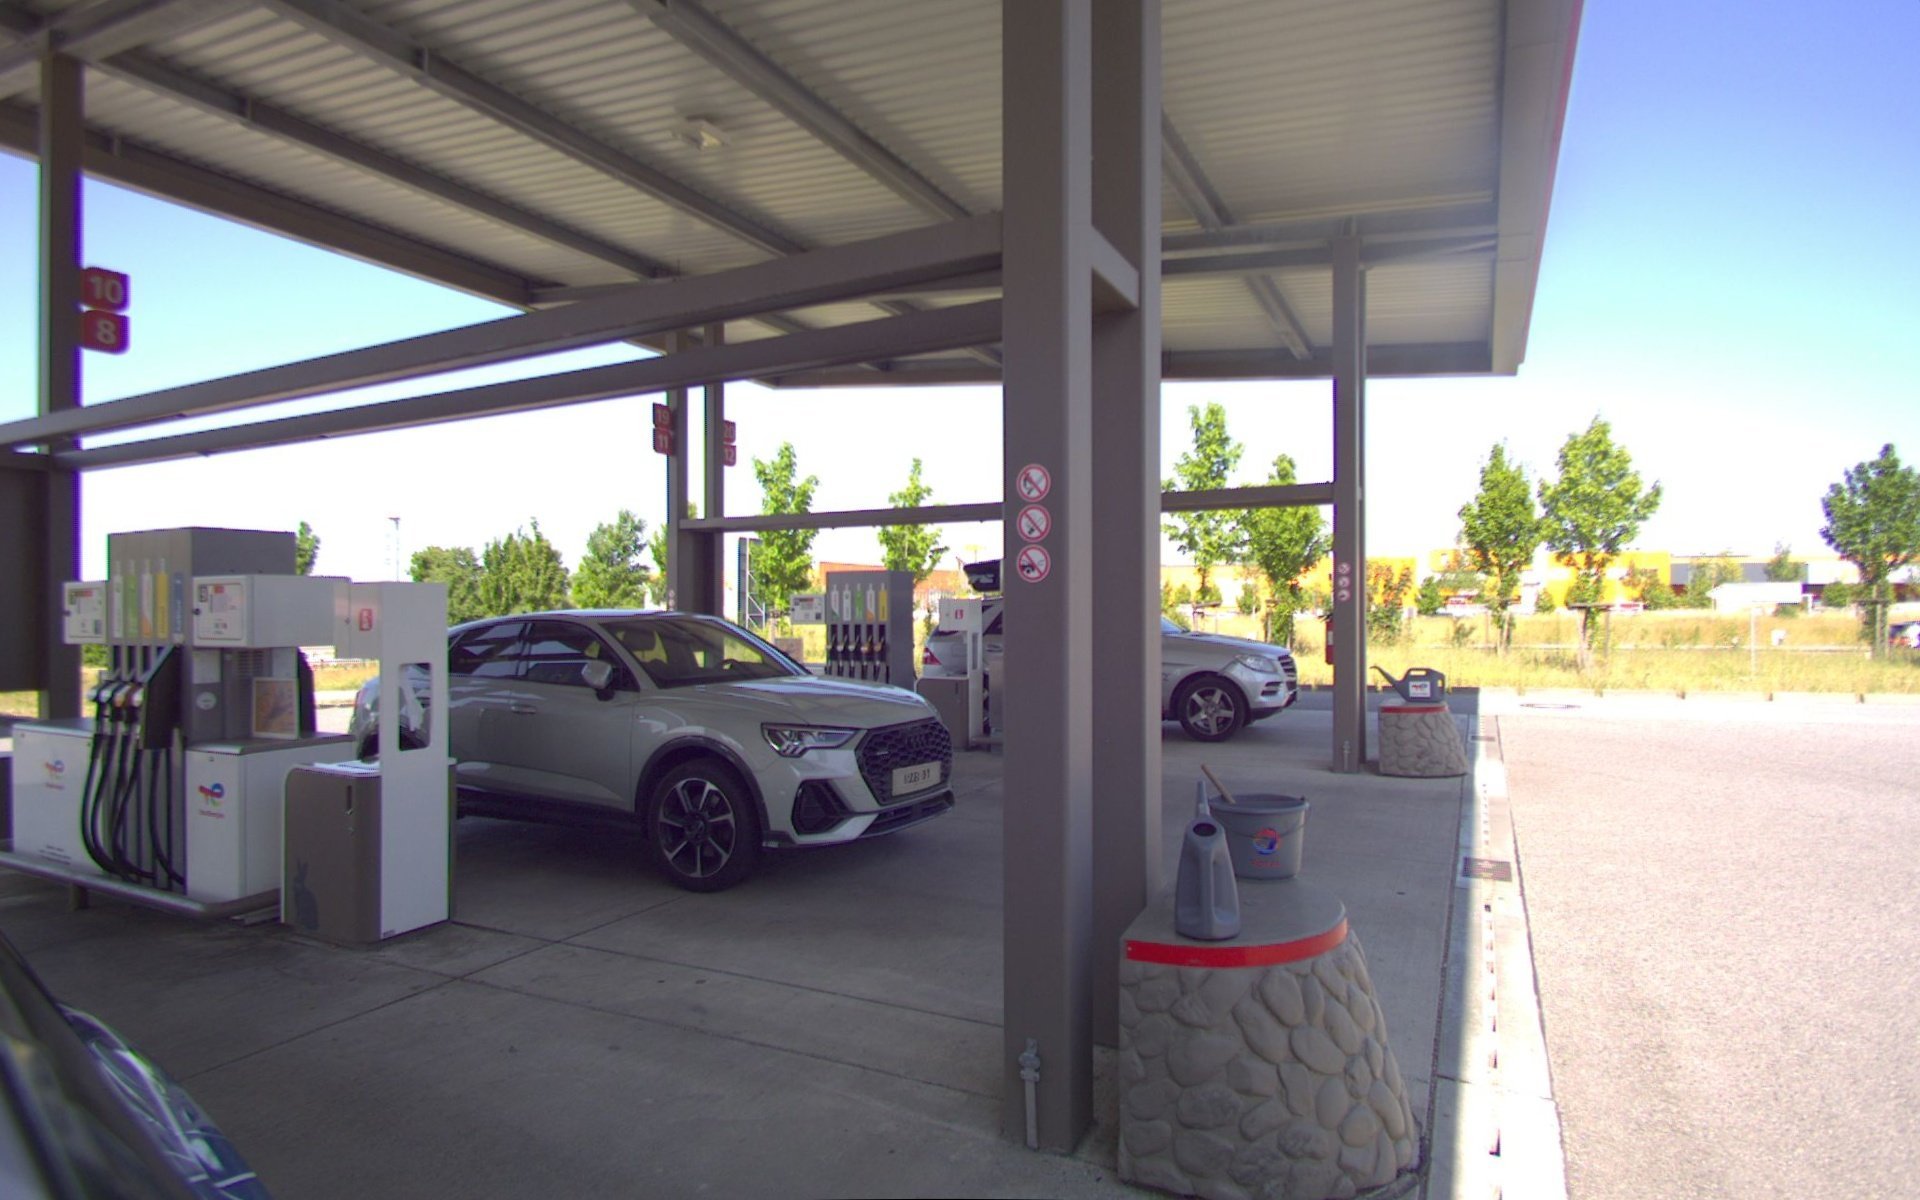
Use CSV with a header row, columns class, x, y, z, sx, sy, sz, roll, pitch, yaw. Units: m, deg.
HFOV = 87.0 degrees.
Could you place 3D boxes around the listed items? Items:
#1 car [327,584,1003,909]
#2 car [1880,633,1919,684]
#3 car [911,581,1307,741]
class,x,y,z,sx,sy,sz,roll,pitch,yaw
car,-2.035,0.762,6.674,4.306,1.553,1.769,-2,-1,29
car,33.056,1.909,33.110,3.983,1.630,1.804,-2,-1,29
car,1.827,0.711,12.525,4.508,1.700,1.850,-2,-1,24
